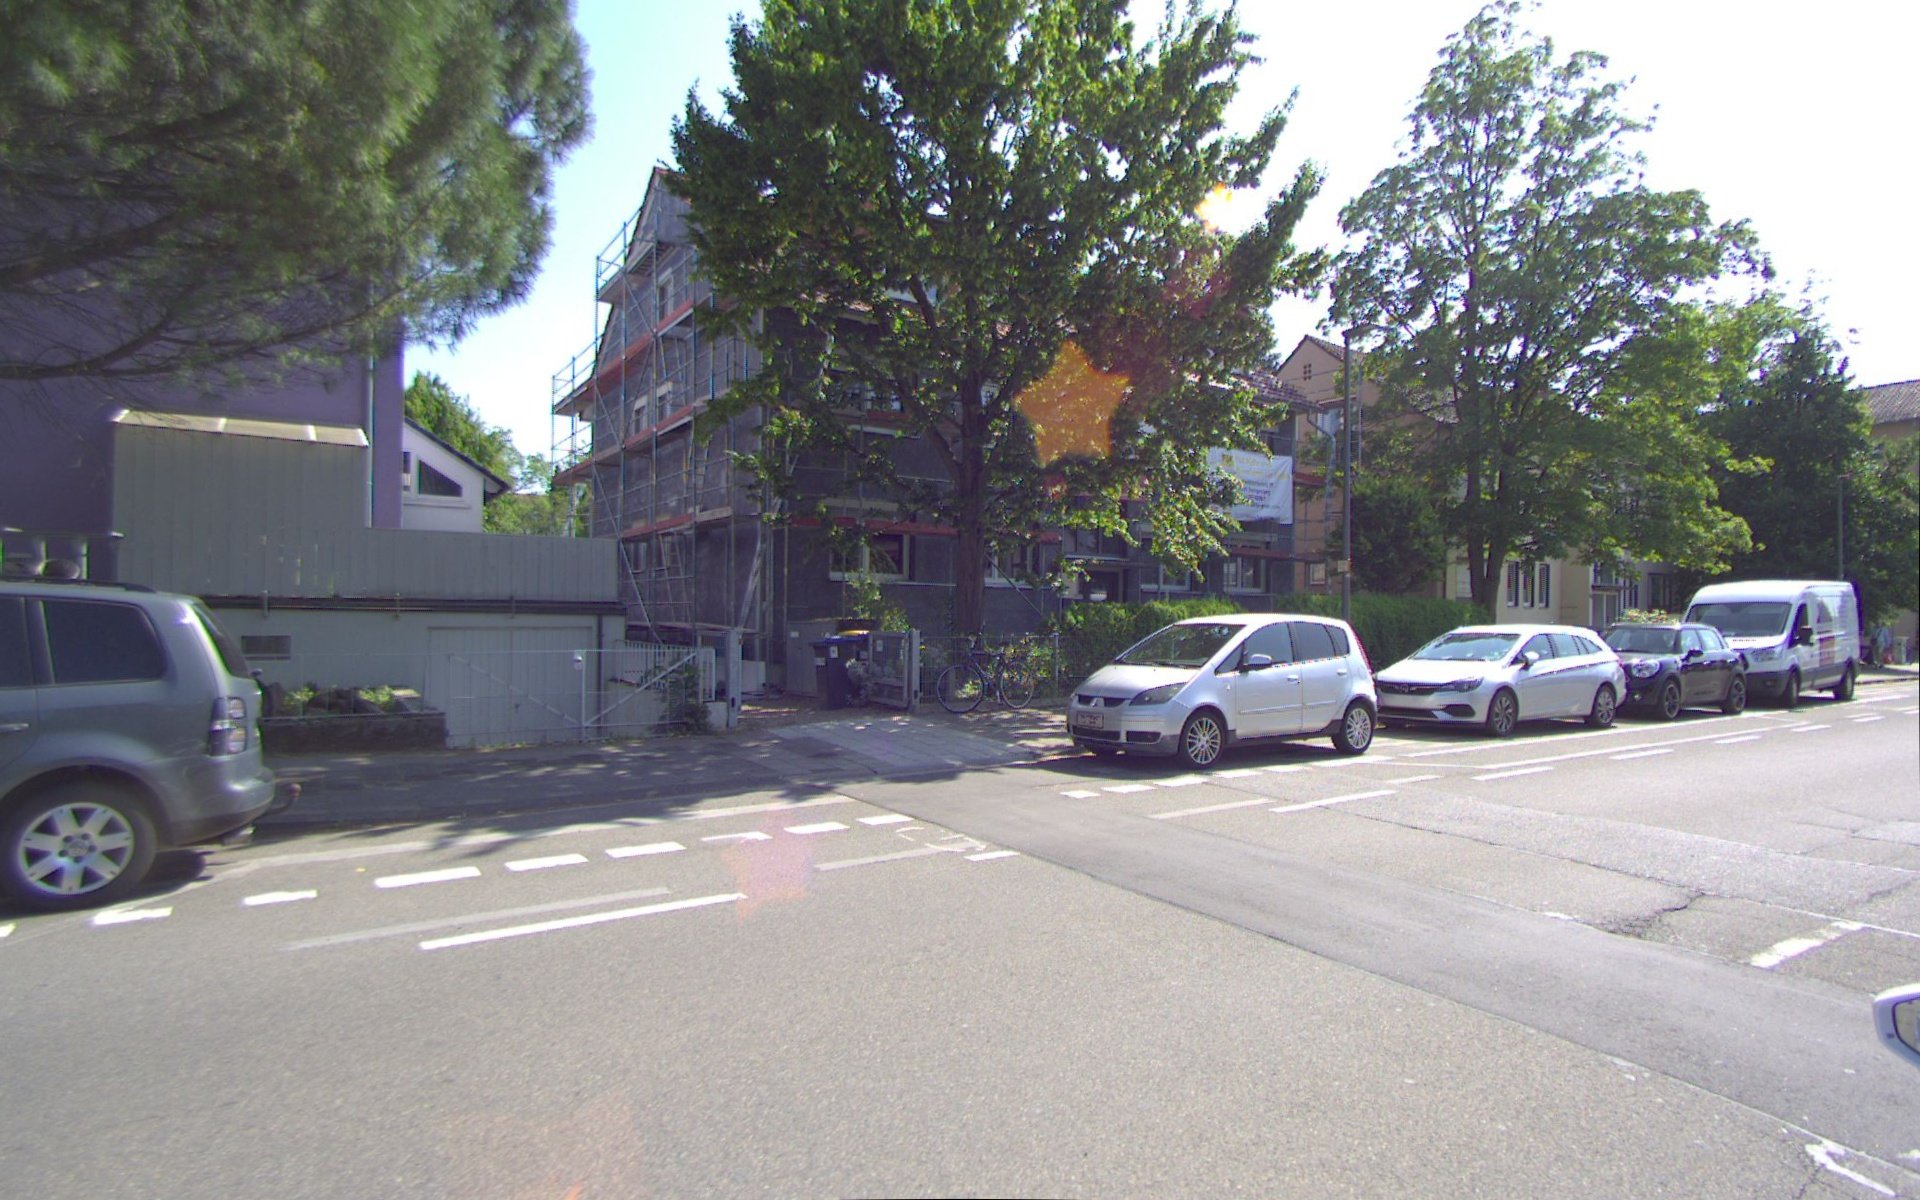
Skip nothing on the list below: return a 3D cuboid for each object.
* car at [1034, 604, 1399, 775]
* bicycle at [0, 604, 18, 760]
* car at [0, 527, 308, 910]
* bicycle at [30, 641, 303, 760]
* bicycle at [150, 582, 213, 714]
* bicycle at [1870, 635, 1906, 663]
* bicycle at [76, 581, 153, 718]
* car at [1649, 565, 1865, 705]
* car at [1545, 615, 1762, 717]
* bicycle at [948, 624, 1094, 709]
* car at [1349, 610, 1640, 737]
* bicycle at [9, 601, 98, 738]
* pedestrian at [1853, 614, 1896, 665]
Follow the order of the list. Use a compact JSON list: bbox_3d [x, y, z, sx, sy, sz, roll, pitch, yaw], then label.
[{"bbox_3d":[2.900,0.870,11.119,3.957,1.579,1.710,1,-1,-33],"label":"car"},{"bbox_3d":[-8.784,0.655,7.927,1.893,1.283,0.455,1,-1,-32],"label":"bicycle"},{"bbox_3d":[-5.870,0.557,4.843,4.539,1.788,1.829,1,-2,-35],"label":"car"},{"bbox_3d":[-7.098,0.868,9.111,1.894,0.967,0.455,1,-1,-34],"label":"bicycle"},{"bbox_3d":[-9.017,0.530,11.672,0.498,1.401,2.156,1,-1,-36],"label":"bicycle"},{"bbox_3d":[38.435,2.024,41.612,0.370,1.095,1.717,0,0,16],"label":"bicycle"},{"bbox_3d":[-9.499,0.530,11.334,0.498,1.401,2.156,1,-1,-36],"label":"bicycle"},{"bbox_3d":[16.663,0.697,20.883,5.896,2.529,2.074,1,-2,-37],"label":"car"},{"bbox_3d":[11.983,1.064,17.307,3.957,1.579,1.710,1,-1,-33],"label":"car"},{"bbox_3d":[0.909,0.938,14.534,2.214,1.154,0.510,2,-1,-32],"label":"bicycle"},{"bbox_3d":[7.816,0.966,14.541,4.622,1.579,1.710,1,-2,-33],"label":"car"},{"bbox_3d":[-10.139,0.736,11.287,0.498,1.401,2.156,1,-1,-36],"label":"bicycle"},{"bbox_3d":[33.090,1.404,36.353,0.716,1.803,0.969,1,0,-28],"label":"pedestrian"}]
